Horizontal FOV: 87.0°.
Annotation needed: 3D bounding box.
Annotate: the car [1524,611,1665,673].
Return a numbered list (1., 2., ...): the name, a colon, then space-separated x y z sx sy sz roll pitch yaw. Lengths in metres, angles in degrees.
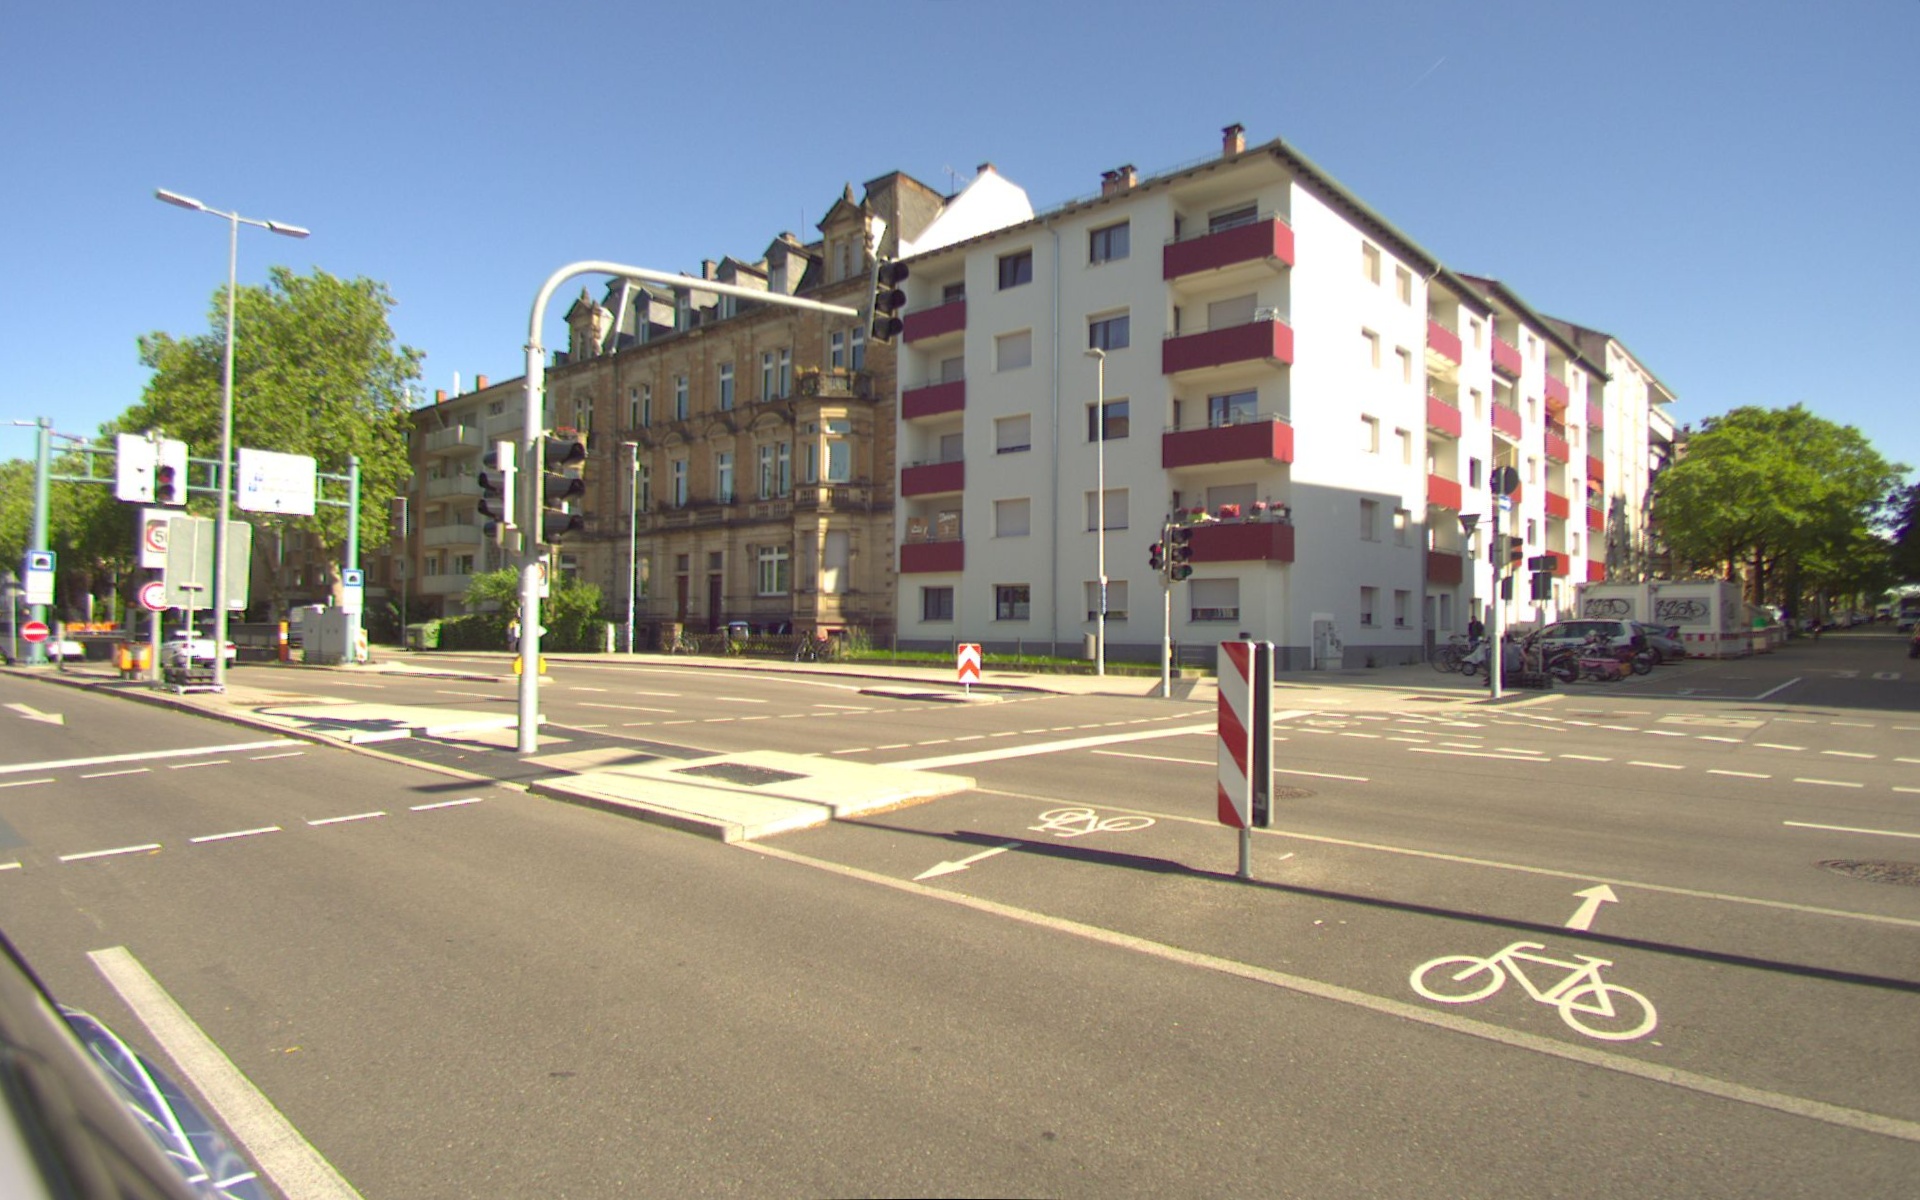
1. car: 21.343 1.377 34.126 3.793 1.970 1.678 -1 -2 43

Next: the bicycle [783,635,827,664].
1. bicycle: -5.313 1.669 34.638 1.938 0.965 0.301 -1 -3 41

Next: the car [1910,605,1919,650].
1. car: 36.873 1.015 37.767 2.001 1.614 3.942 -1 -2 44

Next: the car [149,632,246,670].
1. car: -28.644 1.905 37.977 4.311 1.356 1.912 -3 -3 39

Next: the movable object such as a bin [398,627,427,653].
1. movable object such as a bin: -29.189 2.134 53.936 1.313 1.373 0.884 -3 -5 39

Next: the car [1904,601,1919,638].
1. car: 47.630 0.912 49.380 3.939 1.786 2.002 0 -1 -43

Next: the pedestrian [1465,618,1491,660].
1. pedestrian: 18.991 1.412 37.083 0.694 1.508 0.593 -1 -2 43

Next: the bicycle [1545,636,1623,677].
1. bicycle: 17.022 1.523 27.637 1.736 1.077 0.483 -1 -2 43

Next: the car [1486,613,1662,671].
1. car: 19.678 1.322 32.586 1.970 1.744 4.483 1 -2 -44

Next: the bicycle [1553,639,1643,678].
1. bicycle: 16.779 1.516 26.648 0.471 0.955 1.954 1 -2 -41

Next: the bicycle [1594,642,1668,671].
1. bicycle: 19.468 1.627 29.386 1.708 0.820 0.412 0 -2 17

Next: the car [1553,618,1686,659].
1. car: 24.971 1.422 38.385 4.000 1.473 1.823 -1 -2 43

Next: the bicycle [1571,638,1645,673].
1. bicycle: 18.473 1.577 28.875 1.723 0.955 0.453 -1 -2 42

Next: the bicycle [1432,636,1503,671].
1. bicycle: 14.510 1.515 28.964 0.567 0.976 1.737 1 -2 -45

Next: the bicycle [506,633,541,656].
1. bicycle: -20.348 2.064 47.166 2.247 1.013 0.462 -2 -1 39

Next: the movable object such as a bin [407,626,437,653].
1. movable object such as a bin: -28.168 2.088 52.988 1.473 1.371 0.883 -3 -5 41

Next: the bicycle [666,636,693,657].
1. bicycle: -10.942 1.812 39.438 1.413 0.777 0.296 -2 -3 41

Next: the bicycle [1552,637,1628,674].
1. bicycle: 17.696 1.549 28.455 0.502 1.011 1.737 1 -2 -45

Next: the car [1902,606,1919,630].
1. car: 74.008 1.354 77.776 1.998 1.732 3.947 -2 -1 39

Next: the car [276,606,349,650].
1. car: -38.931 1.729 60.775 5.284 2.465 2.221 -3 -5 41

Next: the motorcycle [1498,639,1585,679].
1. motorcycle: 14.671 1.475 25.577 0.497 0.943 1.844 1 -2 -43

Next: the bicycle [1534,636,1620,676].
1. bicycle: 16.114 1.453 26.485 0.500 0.985 1.890 1 -2 -33

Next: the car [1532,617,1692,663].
1. car: 23.257 1.406 36.197 4.574 1.541 1.740 -1 -2 43

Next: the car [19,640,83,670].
1. car: -50.332 3.069 56.028 4.386 1.464 1.974 -4 -1 39

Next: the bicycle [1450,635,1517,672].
1. bicycle: 15.703 1.598 30.383 0.567 1.066 1.691 1 -2 -45

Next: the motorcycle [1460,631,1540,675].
1. motorcycle: 14.474 1.399 27.163 0.604 1.150 1.786 1 -2 -41

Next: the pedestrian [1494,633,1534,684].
1. pedestrian: 12.787 1.337 23.389 0.785 1.162 0.713 -1 -2 28

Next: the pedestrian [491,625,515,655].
1. pedestrian: -21.353 1.853 47.303 1.089 1.388 0.561 -2 -2 38

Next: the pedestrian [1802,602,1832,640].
1. pedestrian: 46.772 1.154 55.246 1.149 2.029 1.436 -1 -2 39
